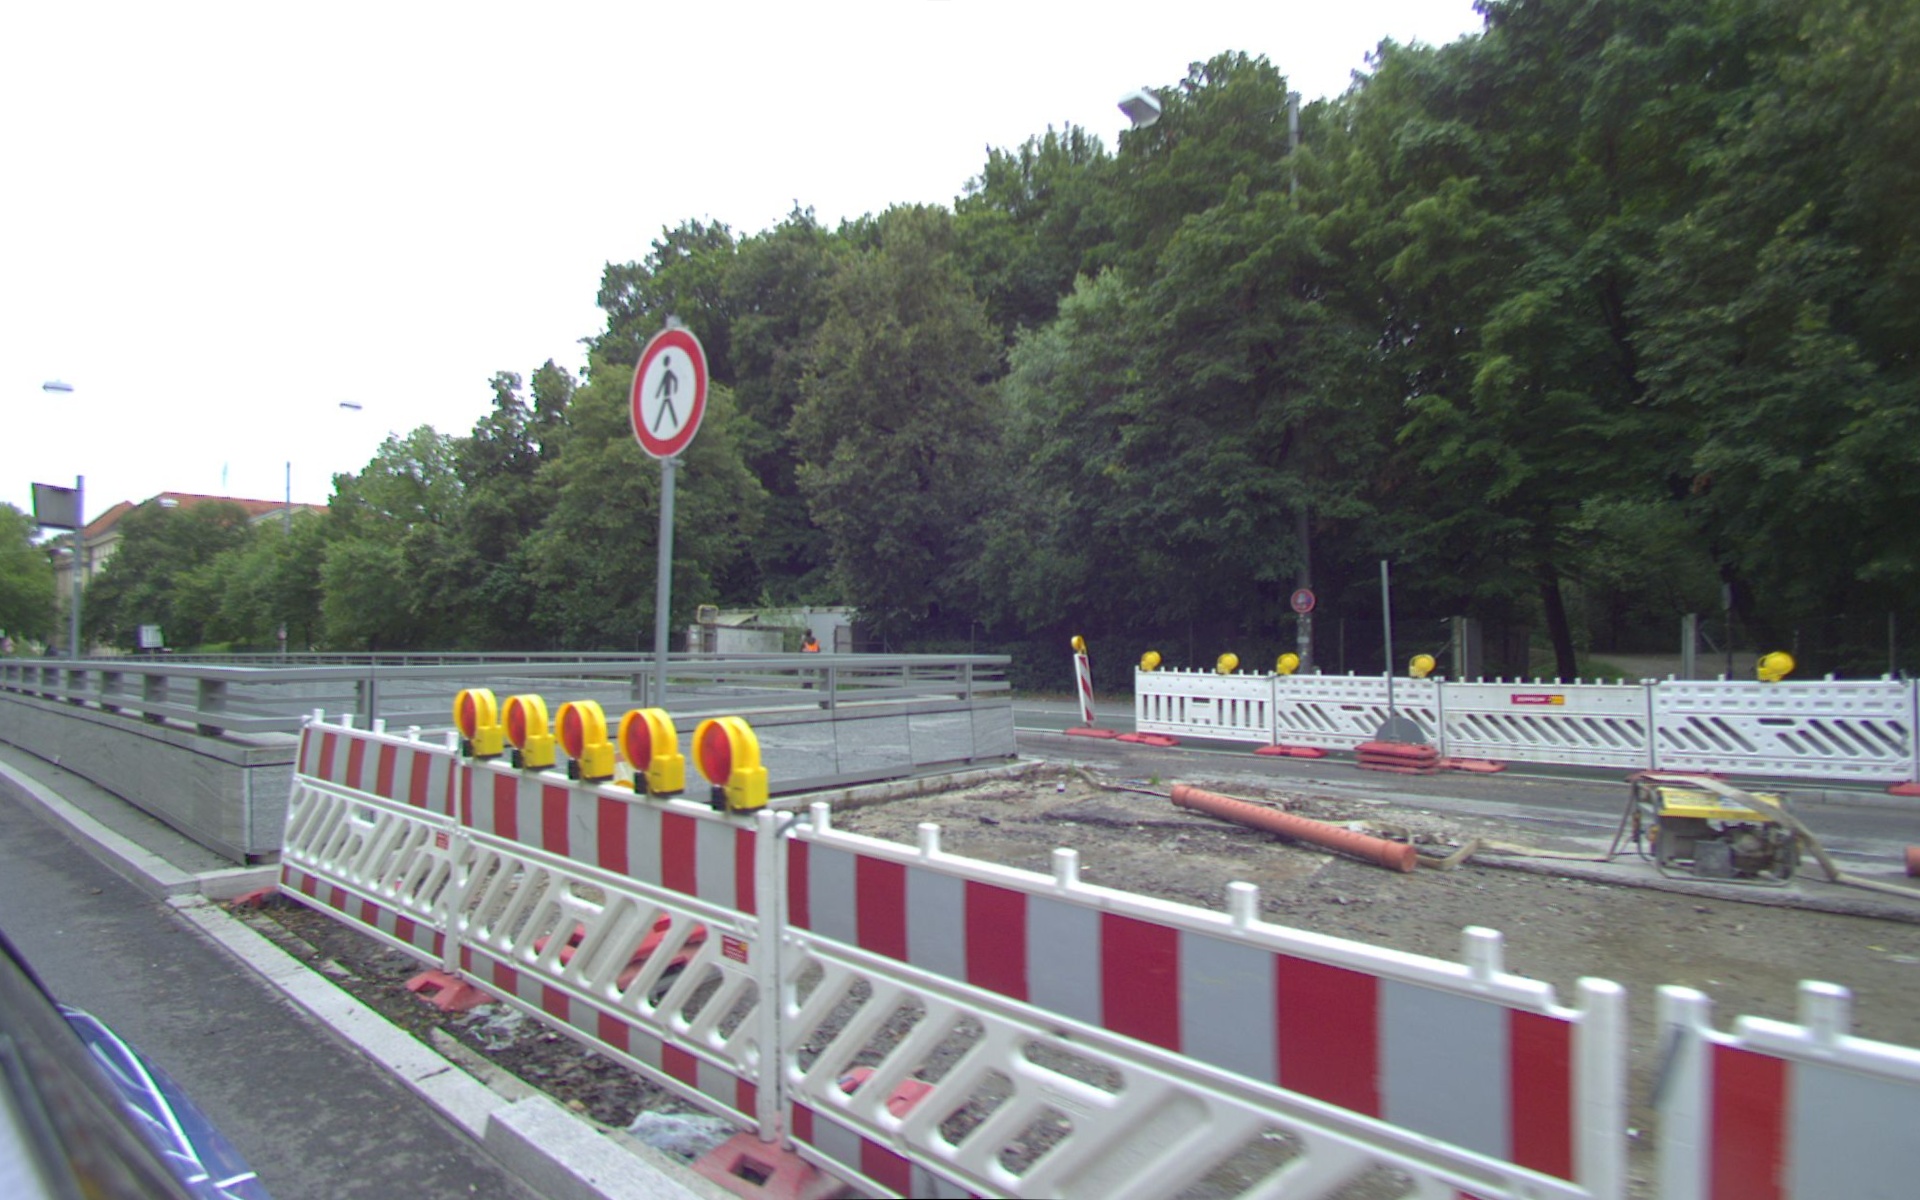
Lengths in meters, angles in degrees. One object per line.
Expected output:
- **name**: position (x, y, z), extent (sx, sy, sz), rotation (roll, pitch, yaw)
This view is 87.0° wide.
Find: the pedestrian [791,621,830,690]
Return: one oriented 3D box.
- **pedestrian**: position (-3.705, 1.367, 25.093), extent (0.698, 1.653, 0.656), rotation (-3, -3, 42)
